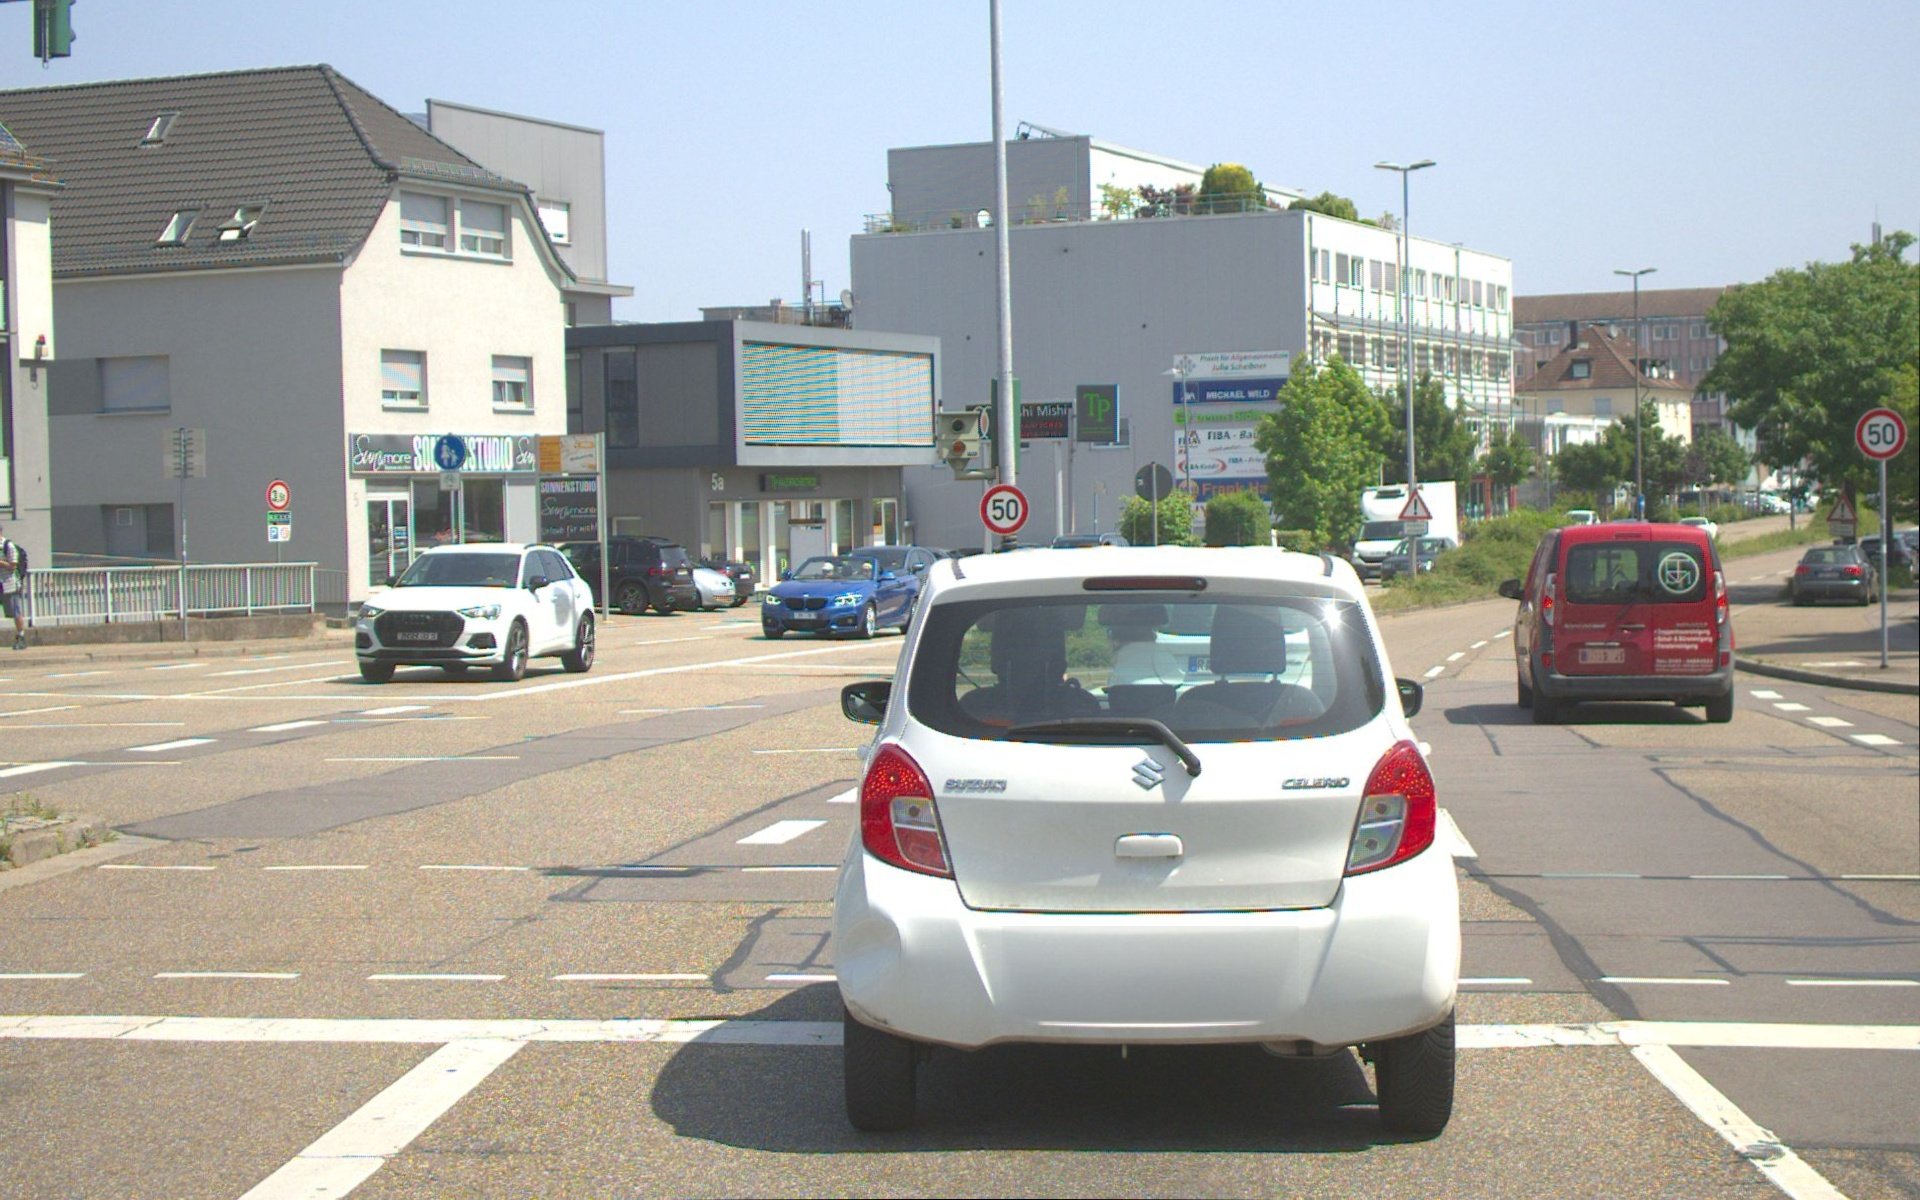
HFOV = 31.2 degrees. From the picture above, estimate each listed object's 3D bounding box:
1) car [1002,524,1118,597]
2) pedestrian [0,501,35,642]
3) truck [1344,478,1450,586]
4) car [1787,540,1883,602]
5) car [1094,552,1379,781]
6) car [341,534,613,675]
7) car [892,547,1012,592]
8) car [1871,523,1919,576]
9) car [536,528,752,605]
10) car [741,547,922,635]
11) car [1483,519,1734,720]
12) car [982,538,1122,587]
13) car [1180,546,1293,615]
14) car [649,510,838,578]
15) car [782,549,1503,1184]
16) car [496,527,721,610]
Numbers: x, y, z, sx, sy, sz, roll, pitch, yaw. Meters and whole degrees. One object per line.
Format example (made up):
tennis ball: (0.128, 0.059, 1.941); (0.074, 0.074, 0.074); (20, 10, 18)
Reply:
car: (2.445, -0.981, 82.946); (1.994, 1.650, 4.591); (-1, 1, 12)
pedestrian: (-13.710, -0.413, 49.526); (0.502, 2.006, 0.743); (1, 2, 5)
truck: (14.386, -2.182, 112.810); (2.266, 3.406, 7.033); (1, 0, 17)
car: (20.968, -0.717, 82.295); (1.799, 1.401, 4.316); (1, 2, 20)
car: (2.010, 0.402, 24.227); (1.830, 1.445, 3.999); (0, 1, 7)
car: (-5.678, 0.008, 41.006); (1.818, 1.565, 4.554); (1, 1, 11)
car: (-0.299, -1.148, 128.920); (3.978, 1.462, 2.071); (-3, 1, 20)
car: (30.472, -1.655, 109.913); (1.963, 1.525, 5.156); (-3, 1, 22)
car: (-7.322, -0.797, 79.743); (4.609, 1.491, 1.751); (3, 2, 14)
car: (-2.059, -0.174, 56.299); (1.864, 1.361, 4.344); (1, 1, 13)
car: (5.906, 0.131, 31.719); (1.795, 1.723, 3.972); (0, 1, 4)
car: (2.829, -1.140, 105.556); (3.990, 1.454, 1.574); (-1, 0, 17)
car: (6.086, -0.448, 75.230); (1.864, 1.426, 4.742); (0, 1, 12)
car: (-5.188, -1.342, 82.627); (4.060, 1.516, 1.998); (-1, 1, 19)
car: (0.462, 0.625, 9.879); (1.712, 1.505, 3.247); (1, 0, 1)
car: (-7.854, -0.720, 76.801); (4.611, 1.621, 1.852); (3, 2, 21)
